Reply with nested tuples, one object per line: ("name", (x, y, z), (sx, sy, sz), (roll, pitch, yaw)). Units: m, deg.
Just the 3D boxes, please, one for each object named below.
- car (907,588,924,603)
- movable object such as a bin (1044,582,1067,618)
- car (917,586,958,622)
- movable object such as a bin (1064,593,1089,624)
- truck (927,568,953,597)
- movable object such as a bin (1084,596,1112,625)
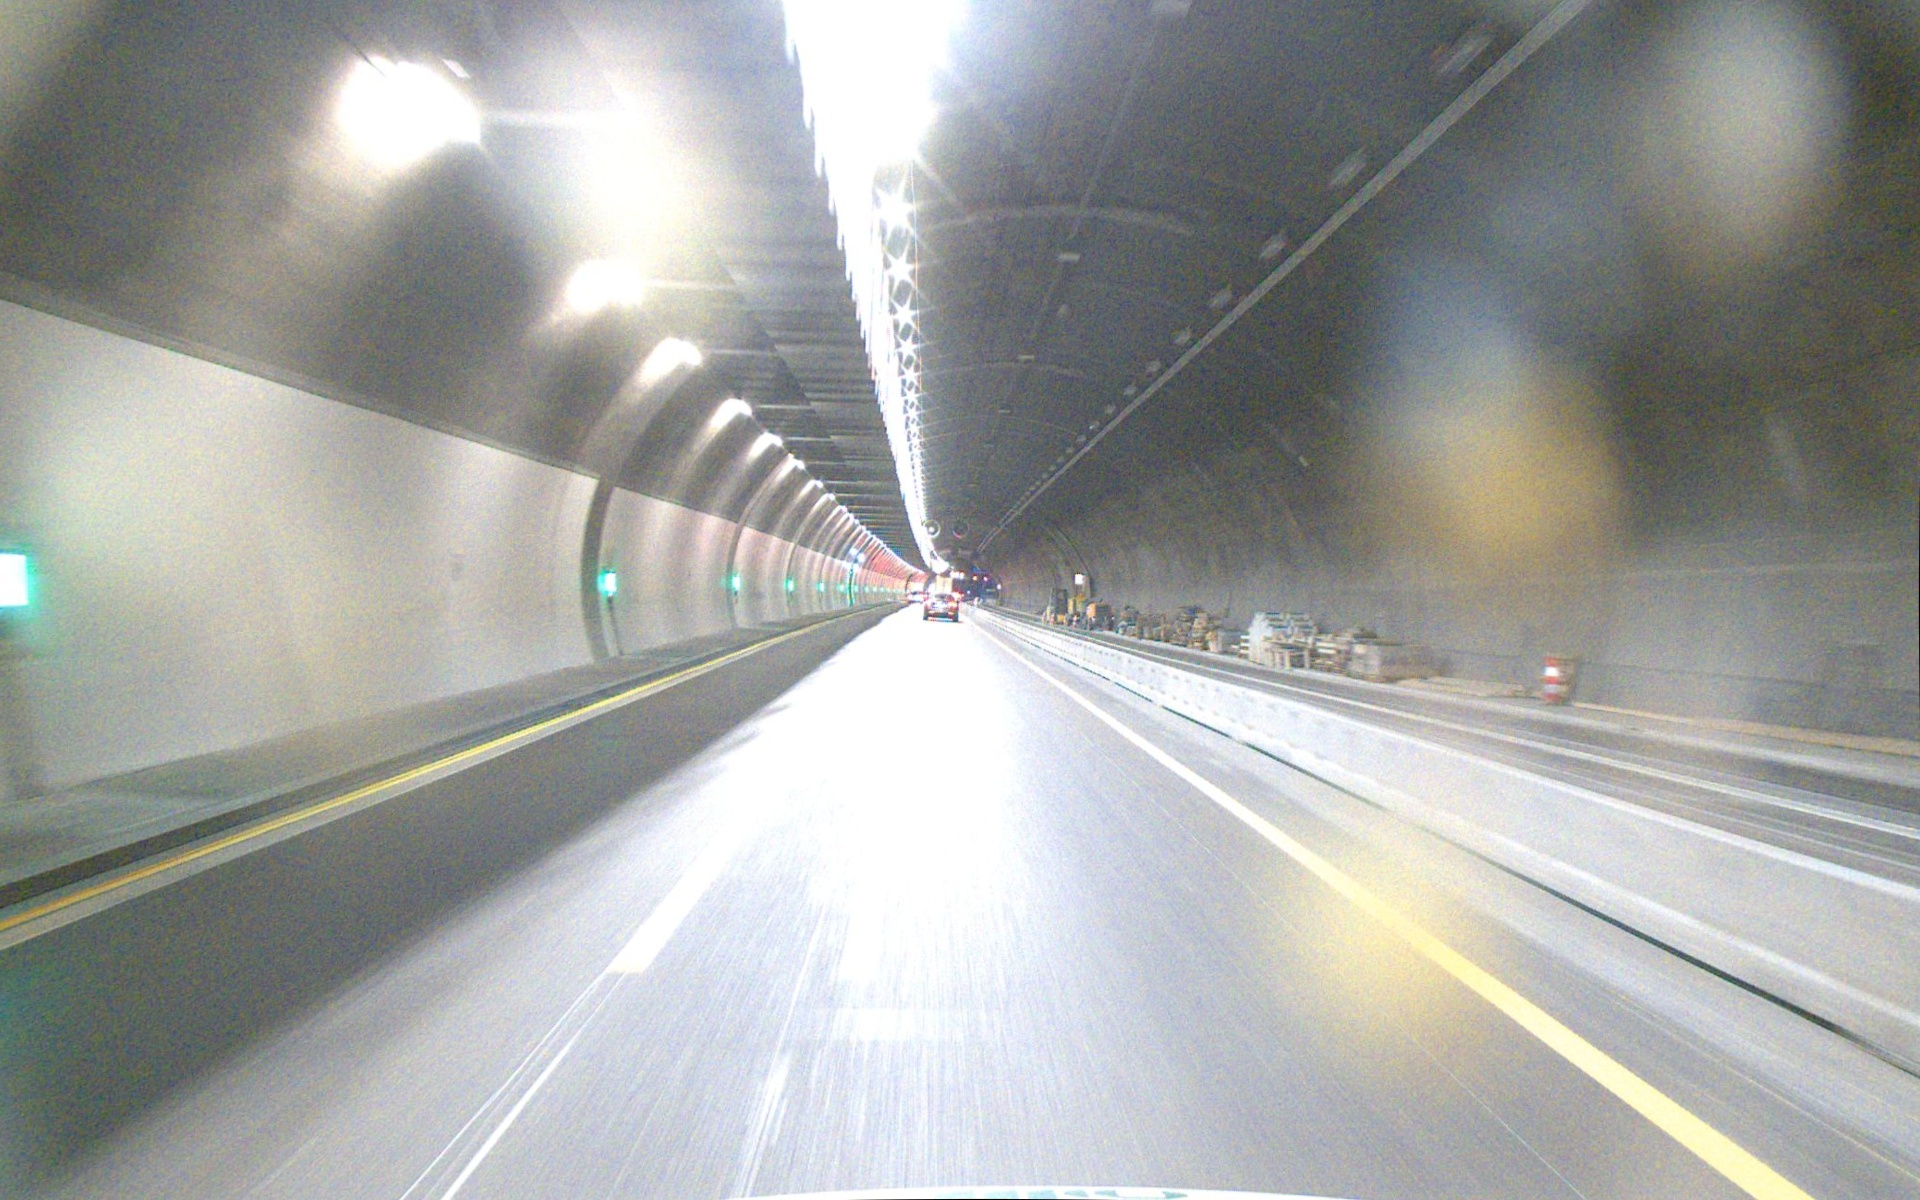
("car", (-5.242, -0.588, 196.310), (1.890, 1.716, 4.000), (0, 1, 0))
("movable object such as a bin", (6.035, -0.023, 104.186), (1.210, 2.178, 2.216), (2, 0, -2))
("car", (-1.188, 0.171, 86.451), (1.908, 1.826, 3.997), (0, 1, -4))
("movable object such as a bin", (6.865, 0.491, 97.407), (1.210, 1.748, 2.216), (2, 0, -2))
("truck", (-3.248, -2.767, 264.806), (3.983, 4.612, 14.962), (0, 0, -1))
("movable object such as a bin", (7.182, 0.545, 86.094), (1.210, 1.467, 2.216), (2, 0, -2))
